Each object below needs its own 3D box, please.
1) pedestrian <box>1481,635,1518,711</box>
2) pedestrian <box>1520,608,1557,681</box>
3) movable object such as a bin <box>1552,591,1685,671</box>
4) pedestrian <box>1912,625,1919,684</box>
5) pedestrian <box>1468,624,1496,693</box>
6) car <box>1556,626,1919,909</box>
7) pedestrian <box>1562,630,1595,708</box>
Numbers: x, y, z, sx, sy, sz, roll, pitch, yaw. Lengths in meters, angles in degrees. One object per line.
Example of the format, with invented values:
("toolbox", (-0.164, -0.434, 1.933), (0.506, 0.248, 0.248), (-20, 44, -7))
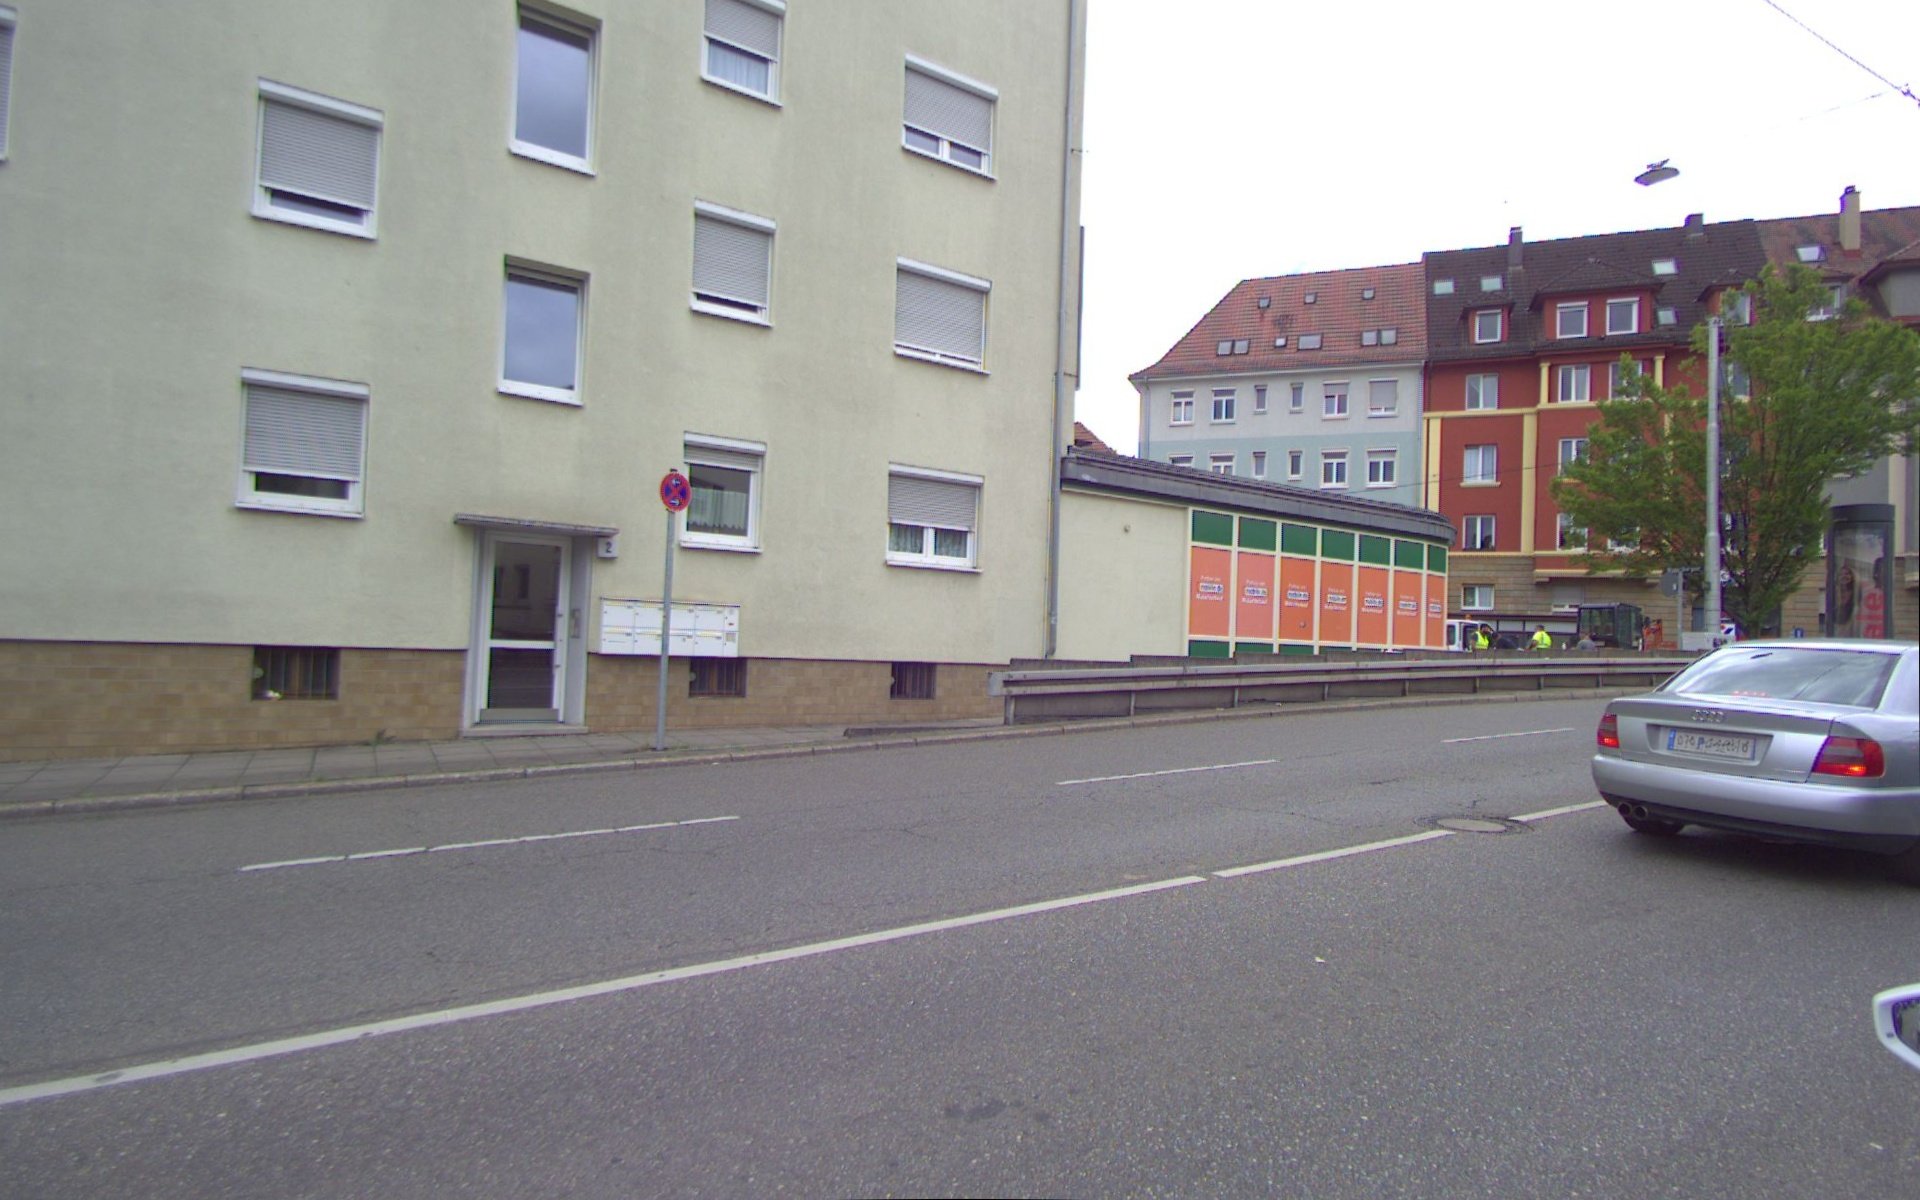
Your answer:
("pedestrian", (12.674, 1.704, 23.591), (0.539, 1.722, 0.557), (1, 1, -41))
("pedestrian", (14.549, 1.119, 25.269), (0.613, 1.785, 0.566), (1, 1, -39))
("movable object such as a bin", (16.613, 0.760, 25.271), (3.972, 1.795, 1.884), (2, 1, -43))
("pedestrian", (26.117, 1.484, 26.999), (0.480, 1.588, 0.586), (2, 1, -30))
("pedestrian", (13.674, 1.535, 26.322), (0.467, 1.753, 0.543), (2, 1, 14))
("car", (6.178, 0.906, 6.865), (4.123, 1.391, 1.690), (0, 0, -27))
("pedestrian", (14.372, 1.584, 23.352), (0.533, 1.753, 0.593), (3, 1, 26))
